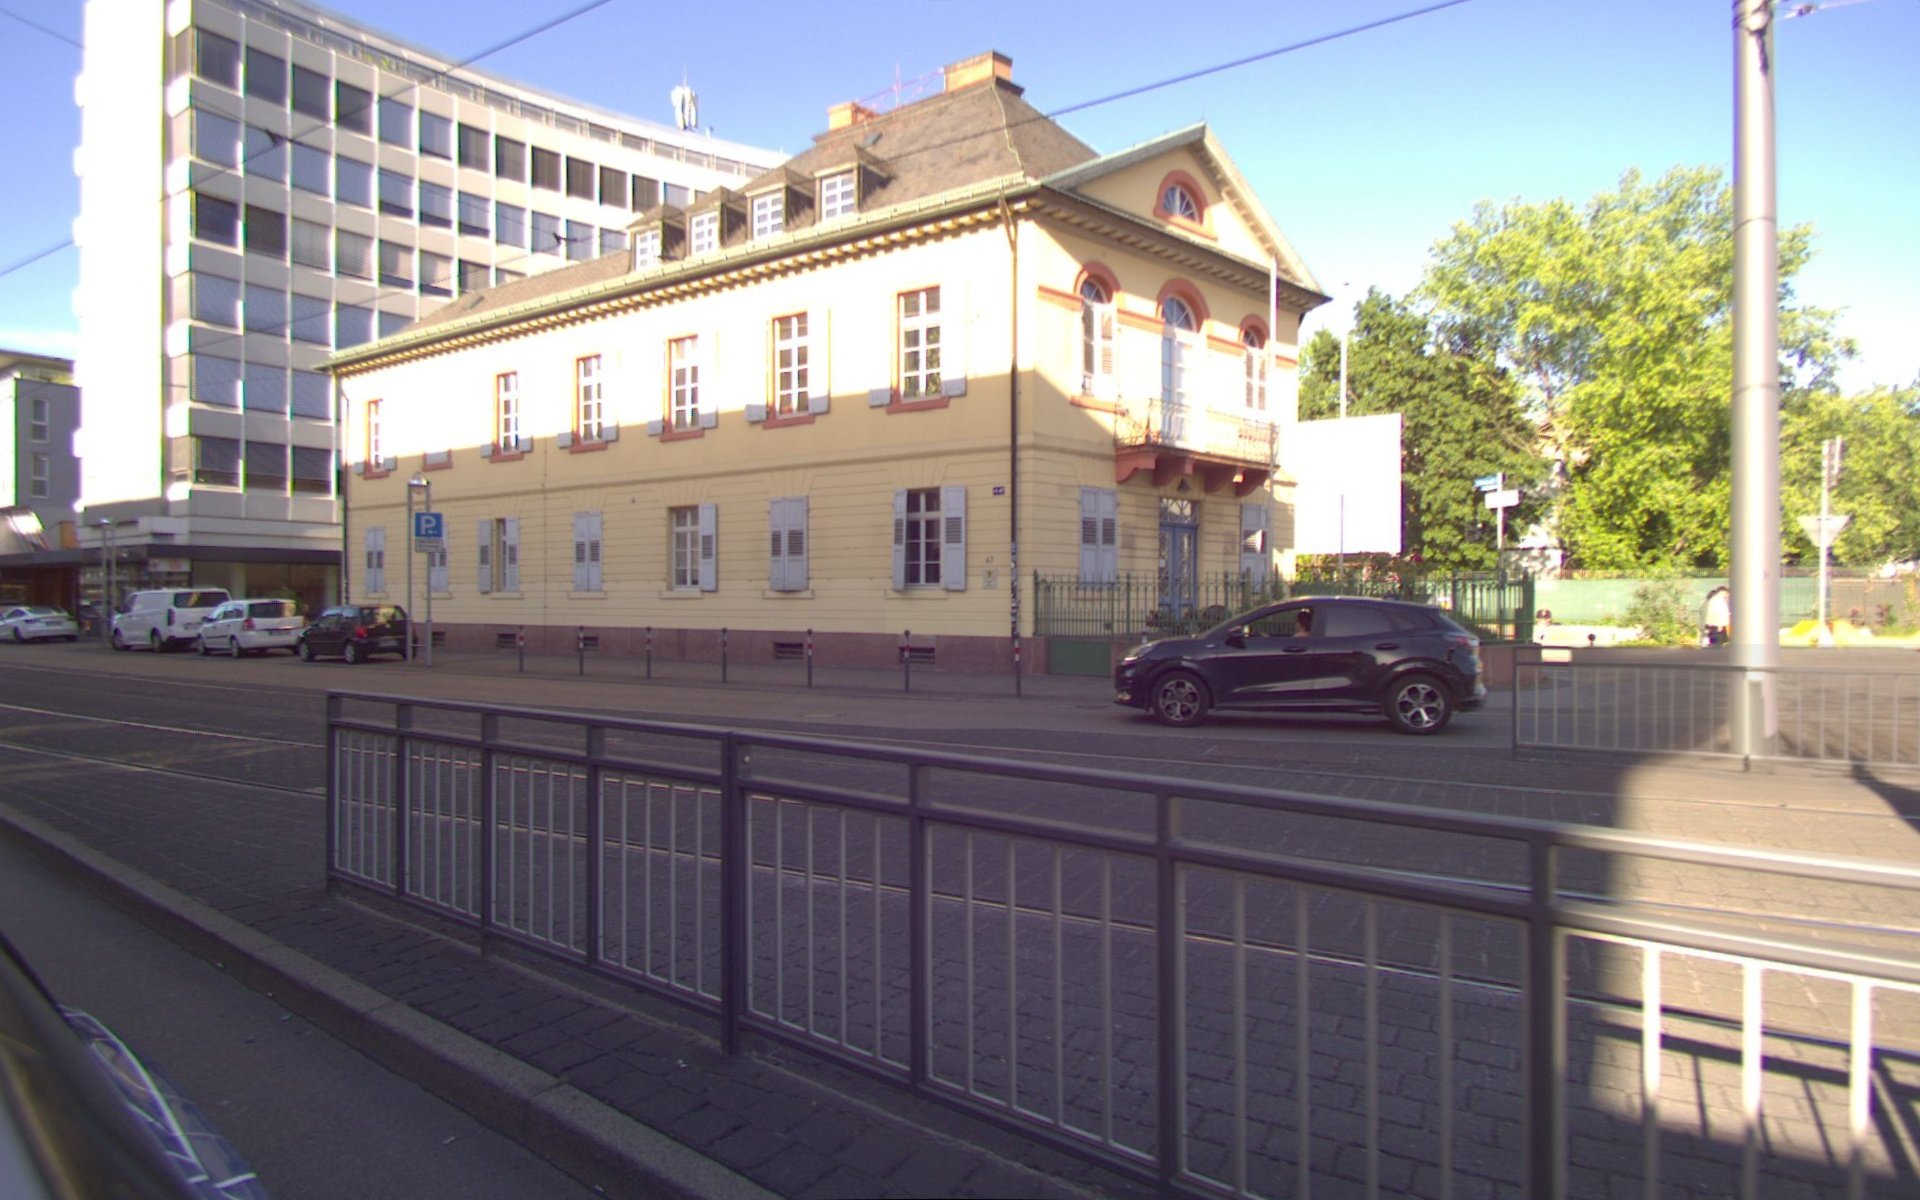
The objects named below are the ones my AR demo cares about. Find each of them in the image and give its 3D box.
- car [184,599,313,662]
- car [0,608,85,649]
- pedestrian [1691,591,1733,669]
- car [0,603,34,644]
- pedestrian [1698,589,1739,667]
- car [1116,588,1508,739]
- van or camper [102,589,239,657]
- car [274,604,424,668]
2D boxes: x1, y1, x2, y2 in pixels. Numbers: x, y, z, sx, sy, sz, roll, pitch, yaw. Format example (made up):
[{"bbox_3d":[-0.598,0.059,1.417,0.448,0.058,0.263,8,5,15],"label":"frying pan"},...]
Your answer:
[{"bbox_3d":[-20.556,0.831,29.180,4.167,1.632,1.761,0,2,36],"label":"car"},{"bbox_3d":[-36.432,1.079,39.640,4.275,1.463,1.913,0,1,29],"label":"car"},{"bbox_3d":[18.408,0.719,24.769,0.697,1.865,0.740,0,0,-45],"label":"pedestrian"},{"bbox_3d":[-41.099,0.984,42.640,4.266,1.654,1.912,0,1,31],"label":"car"},{"bbox_3d":[18.179,0.652,24.254,0.587,1.831,0.705,0,0,-45],"label":"pedestrian"},{"bbox_3d":[4.008,0.650,11.980,4.088,1.572,1.680,0,0,18],"label":"car"},{"bbox_3d":[-25.272,0.671,32.339,4.782,1.988,1.940,0,1,32],"label":"van or camper"},{"bbox_3d":[-15.705,0.869,25.975,3.950,1.450,1.762,0,2,34],"label":"car"}]
